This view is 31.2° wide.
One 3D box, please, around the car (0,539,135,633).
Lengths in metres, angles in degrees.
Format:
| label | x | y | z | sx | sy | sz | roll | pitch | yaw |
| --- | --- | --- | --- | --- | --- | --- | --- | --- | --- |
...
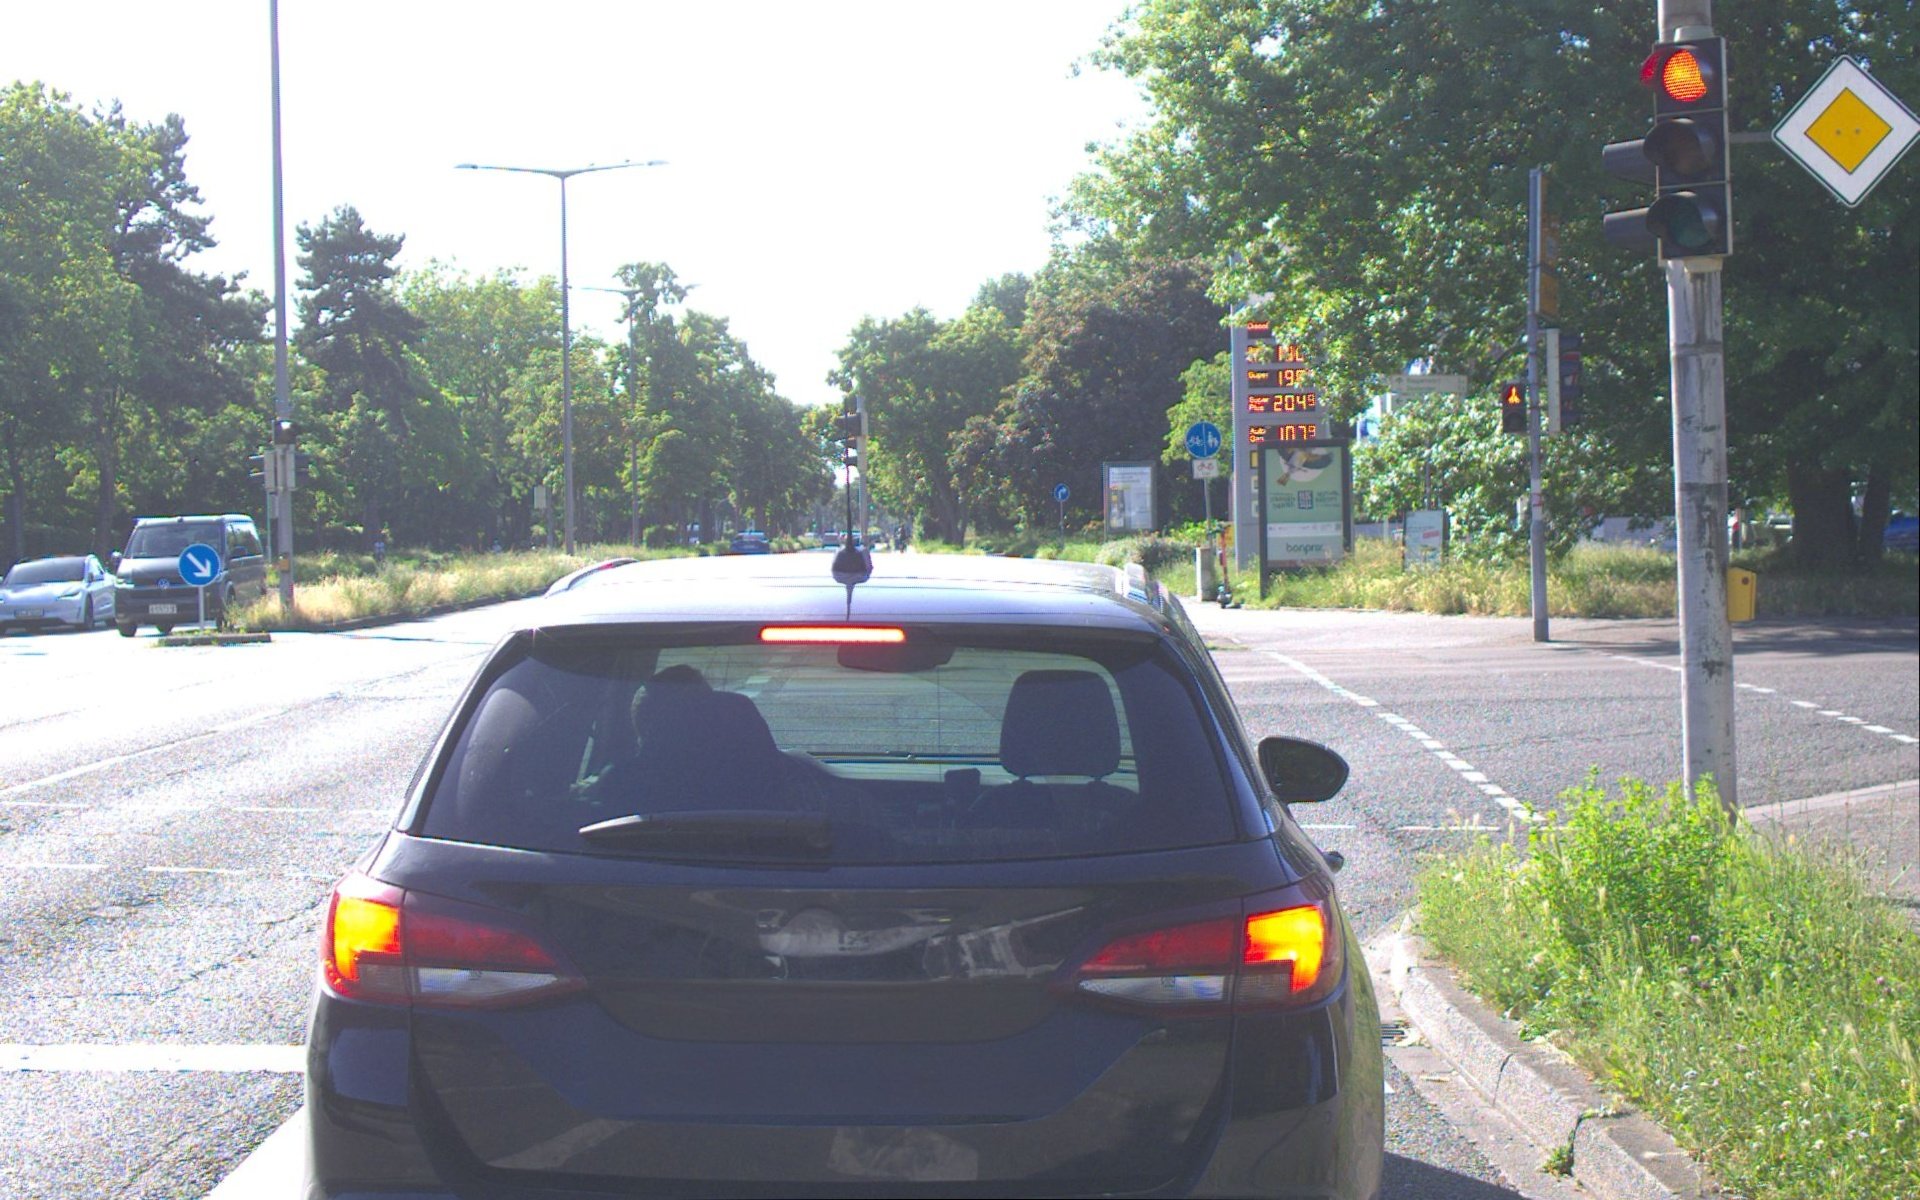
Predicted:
| label | x | y | z | sx | sy | sz | roll | pitch | yaw |
| --- | --- | --- | --- | --- | --- | --- | --- | --- | --- |
| car | -16.906 | -0.286 | 64.561 | 1.864 | 1.678 | 4.000 | 1 | 1 | -1 |

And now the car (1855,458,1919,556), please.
| label | x | y | z | sx | sy | sz | roll | pitch | yaw |
| --- | --- | --- | --- | --- | --- | --- | --- | --- | --- |
| car | 16.819 | -1.496 | 56.721 | 3.836 | 1.558 | 1.805 | 1 | 1 | -32 |

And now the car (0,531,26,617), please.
| label | x | y | z | sx | sy | sz | roll | pitch | yaw |
| --- | --- | --- | --- | --- | --- | --- | --- | --- | --- |
| car | -20.632 | -0.534 | 70.364 | 1.993 | 1.744 | 4.000 | 0 | 1 | -1 |

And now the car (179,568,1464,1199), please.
| label | x | y | z | sx | sy | sz | roll | pitch | yaw |
| --- | --- | --- | --- | --- | --- | --- | --- | --- | --- |
| car | -0.215 | 0.698 | 6.613 | 1.755 | 1.504 | 3.809 | 0 | 1 | -1 |

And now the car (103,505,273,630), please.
| label | x | y | z | sx | sy | sz | roll | pitch | yaw |
| --- | --- | --- | --- | --- | --- | --- | --- | --- | --- |
| car | -13.031 | -0.557 | 58.230 | 1.993 | 2.007 | 4.000 | 1 | 1 | -1 |

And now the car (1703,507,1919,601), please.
| label | x | y | z | sx | sy | sz | roll | pitch | yaw |
| --- | --- | --- | --- | --- | --- | --- | --- | --- | --- |
| car | 16.121 | -0.860 | 65.000 | 3.711 | 1.679 | 1.704 | 1 | 1 | -3 |

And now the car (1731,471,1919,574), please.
| label | x | y | z | sx | sy | sz | roll | pitch | yaw |
| --- | --- | --- | --- | --- | --- | --- | --- | --- | --- |
| car | 15.280 | -1.309 | 59.031 | 3.711 | 1.679 | 1.704 | 1 | 1 | -27 |

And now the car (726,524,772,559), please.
| label | x | y | z | sx | sy | sz | roll | pitch | yaw |
| --- | --- | --- | --- | --- | --- | --- | --- | --- | --- |
| car | -9.738 | -2.688 | 158.758 | 1.888 | 1.546 | 4.000 | -1 | 1 | -1 |
